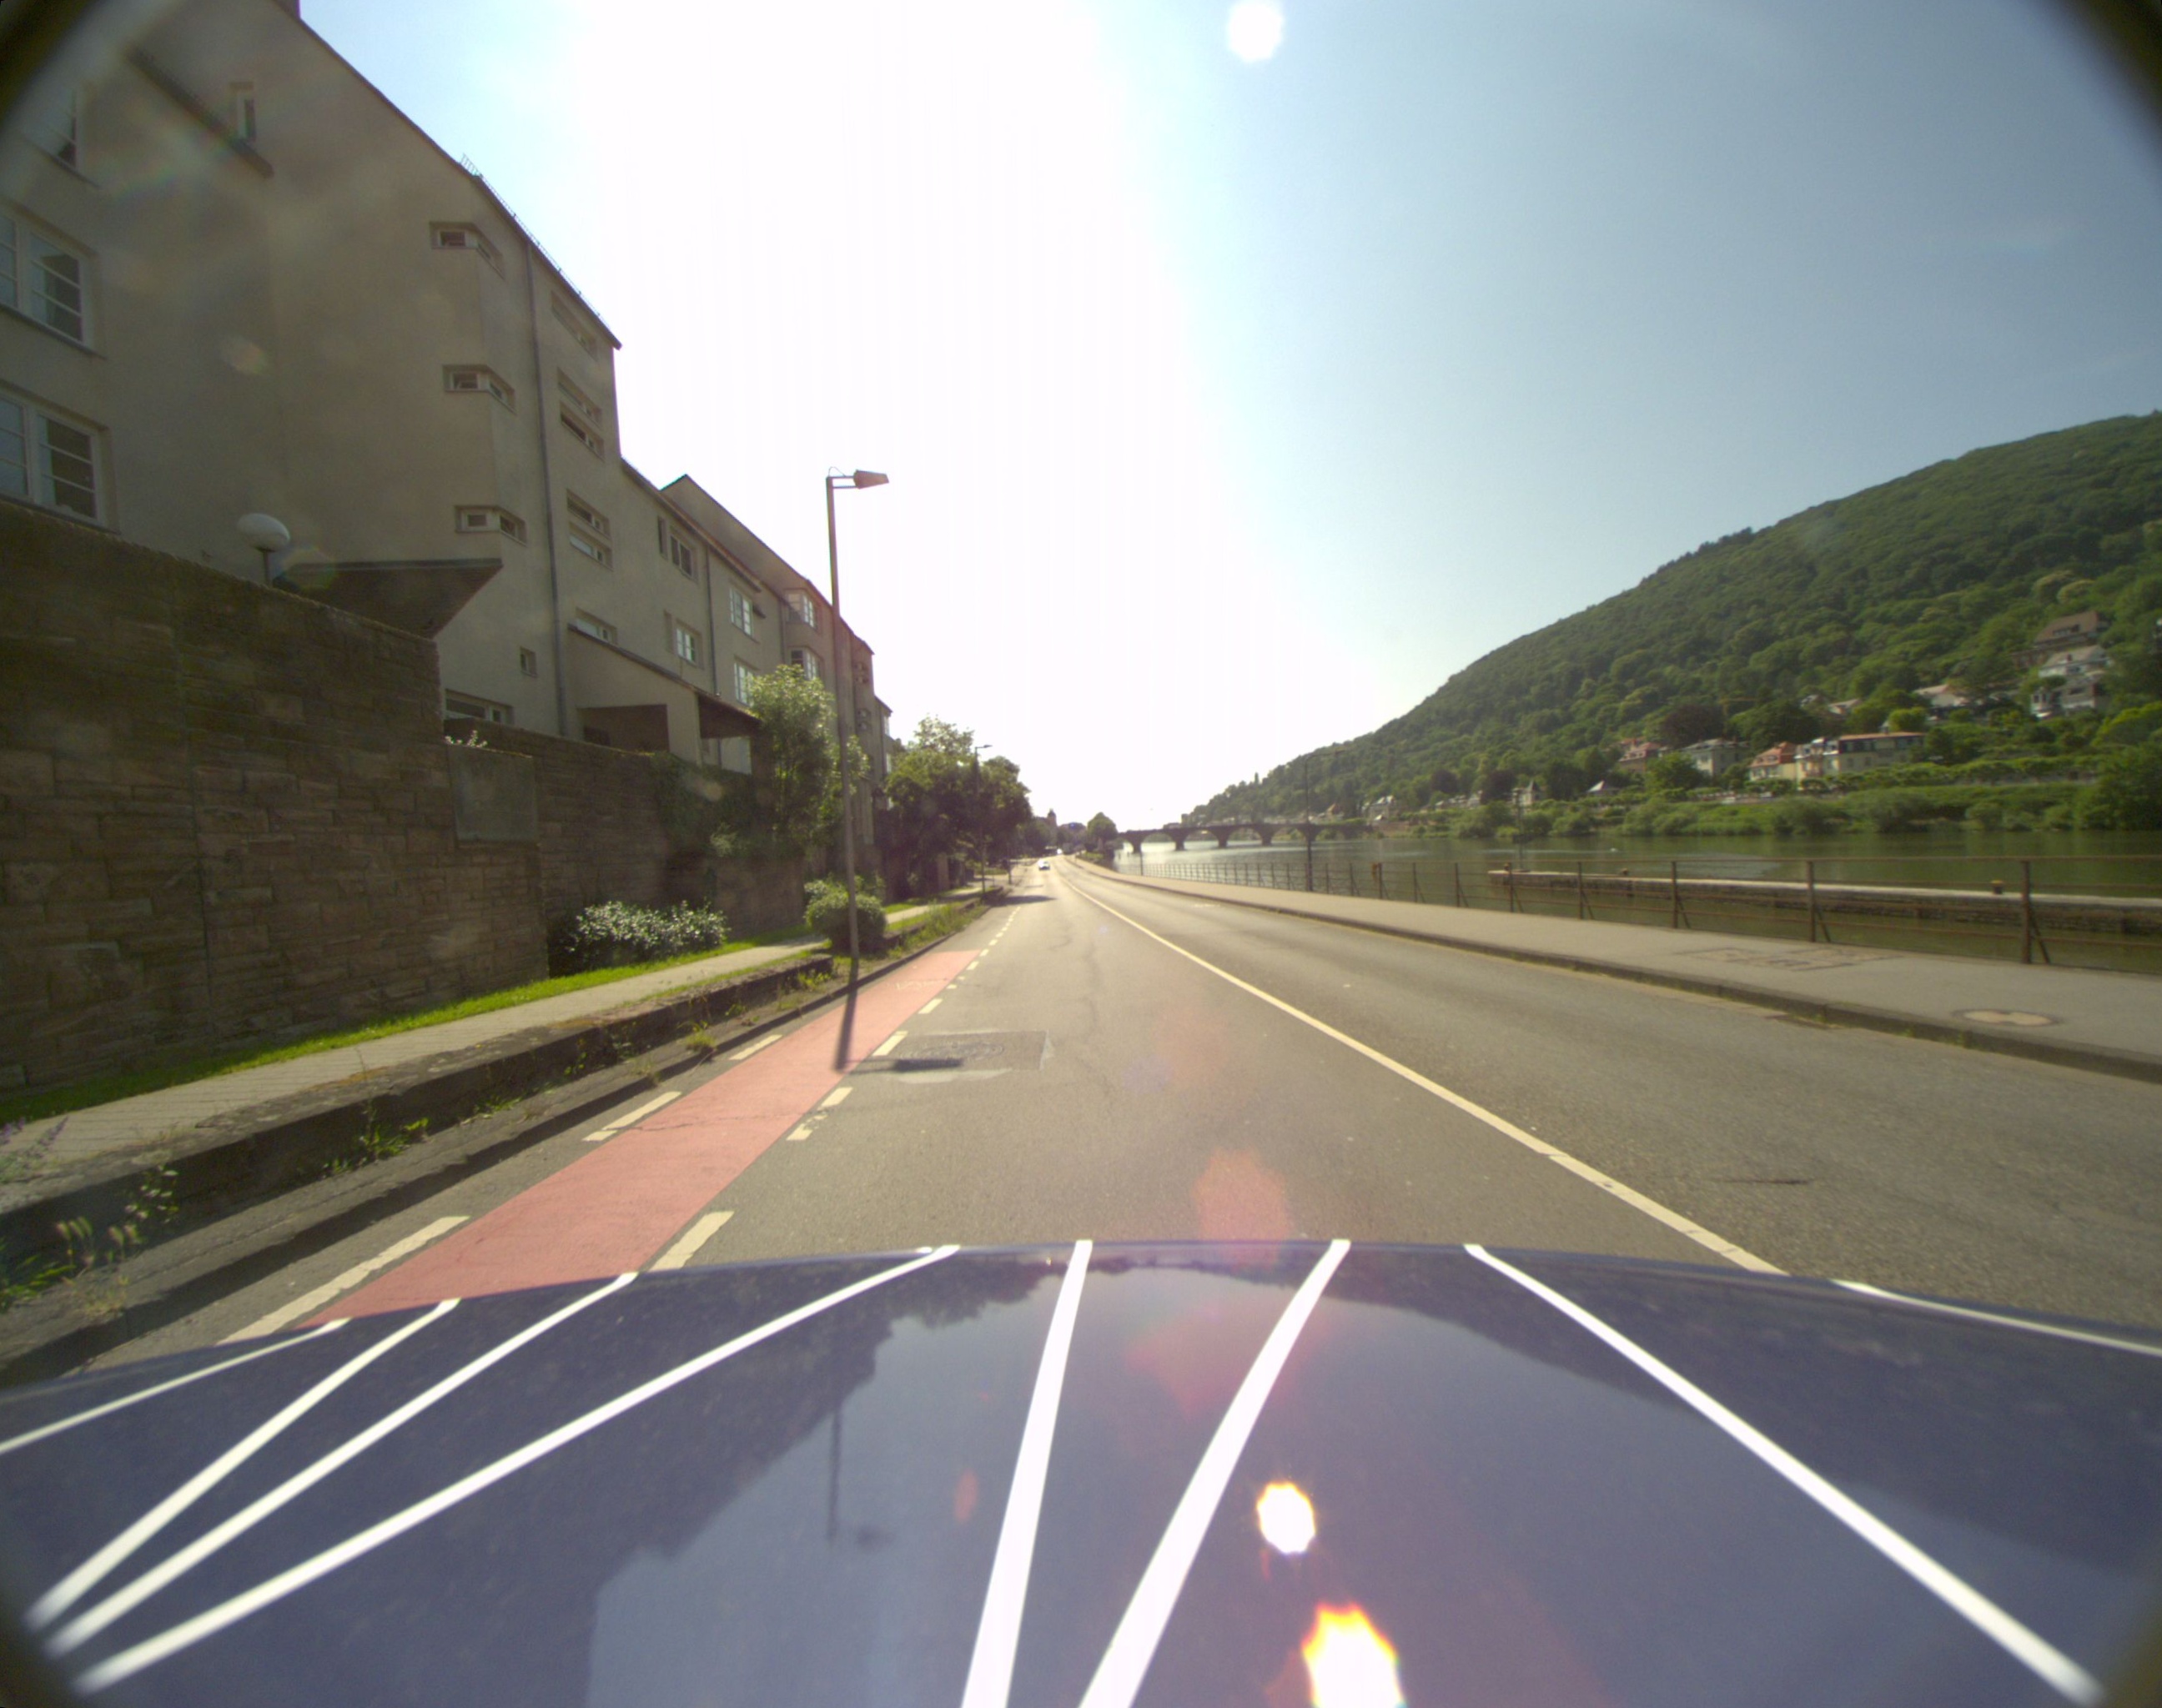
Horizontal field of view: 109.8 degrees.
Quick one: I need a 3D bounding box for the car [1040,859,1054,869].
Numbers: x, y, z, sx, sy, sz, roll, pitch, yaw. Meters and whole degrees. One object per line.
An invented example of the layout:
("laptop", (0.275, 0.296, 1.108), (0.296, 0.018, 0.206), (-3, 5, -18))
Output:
("car", (-5.206, 1.504, 117.840), (1.999, 1.433, 4.000), (-2, 0, -1))
